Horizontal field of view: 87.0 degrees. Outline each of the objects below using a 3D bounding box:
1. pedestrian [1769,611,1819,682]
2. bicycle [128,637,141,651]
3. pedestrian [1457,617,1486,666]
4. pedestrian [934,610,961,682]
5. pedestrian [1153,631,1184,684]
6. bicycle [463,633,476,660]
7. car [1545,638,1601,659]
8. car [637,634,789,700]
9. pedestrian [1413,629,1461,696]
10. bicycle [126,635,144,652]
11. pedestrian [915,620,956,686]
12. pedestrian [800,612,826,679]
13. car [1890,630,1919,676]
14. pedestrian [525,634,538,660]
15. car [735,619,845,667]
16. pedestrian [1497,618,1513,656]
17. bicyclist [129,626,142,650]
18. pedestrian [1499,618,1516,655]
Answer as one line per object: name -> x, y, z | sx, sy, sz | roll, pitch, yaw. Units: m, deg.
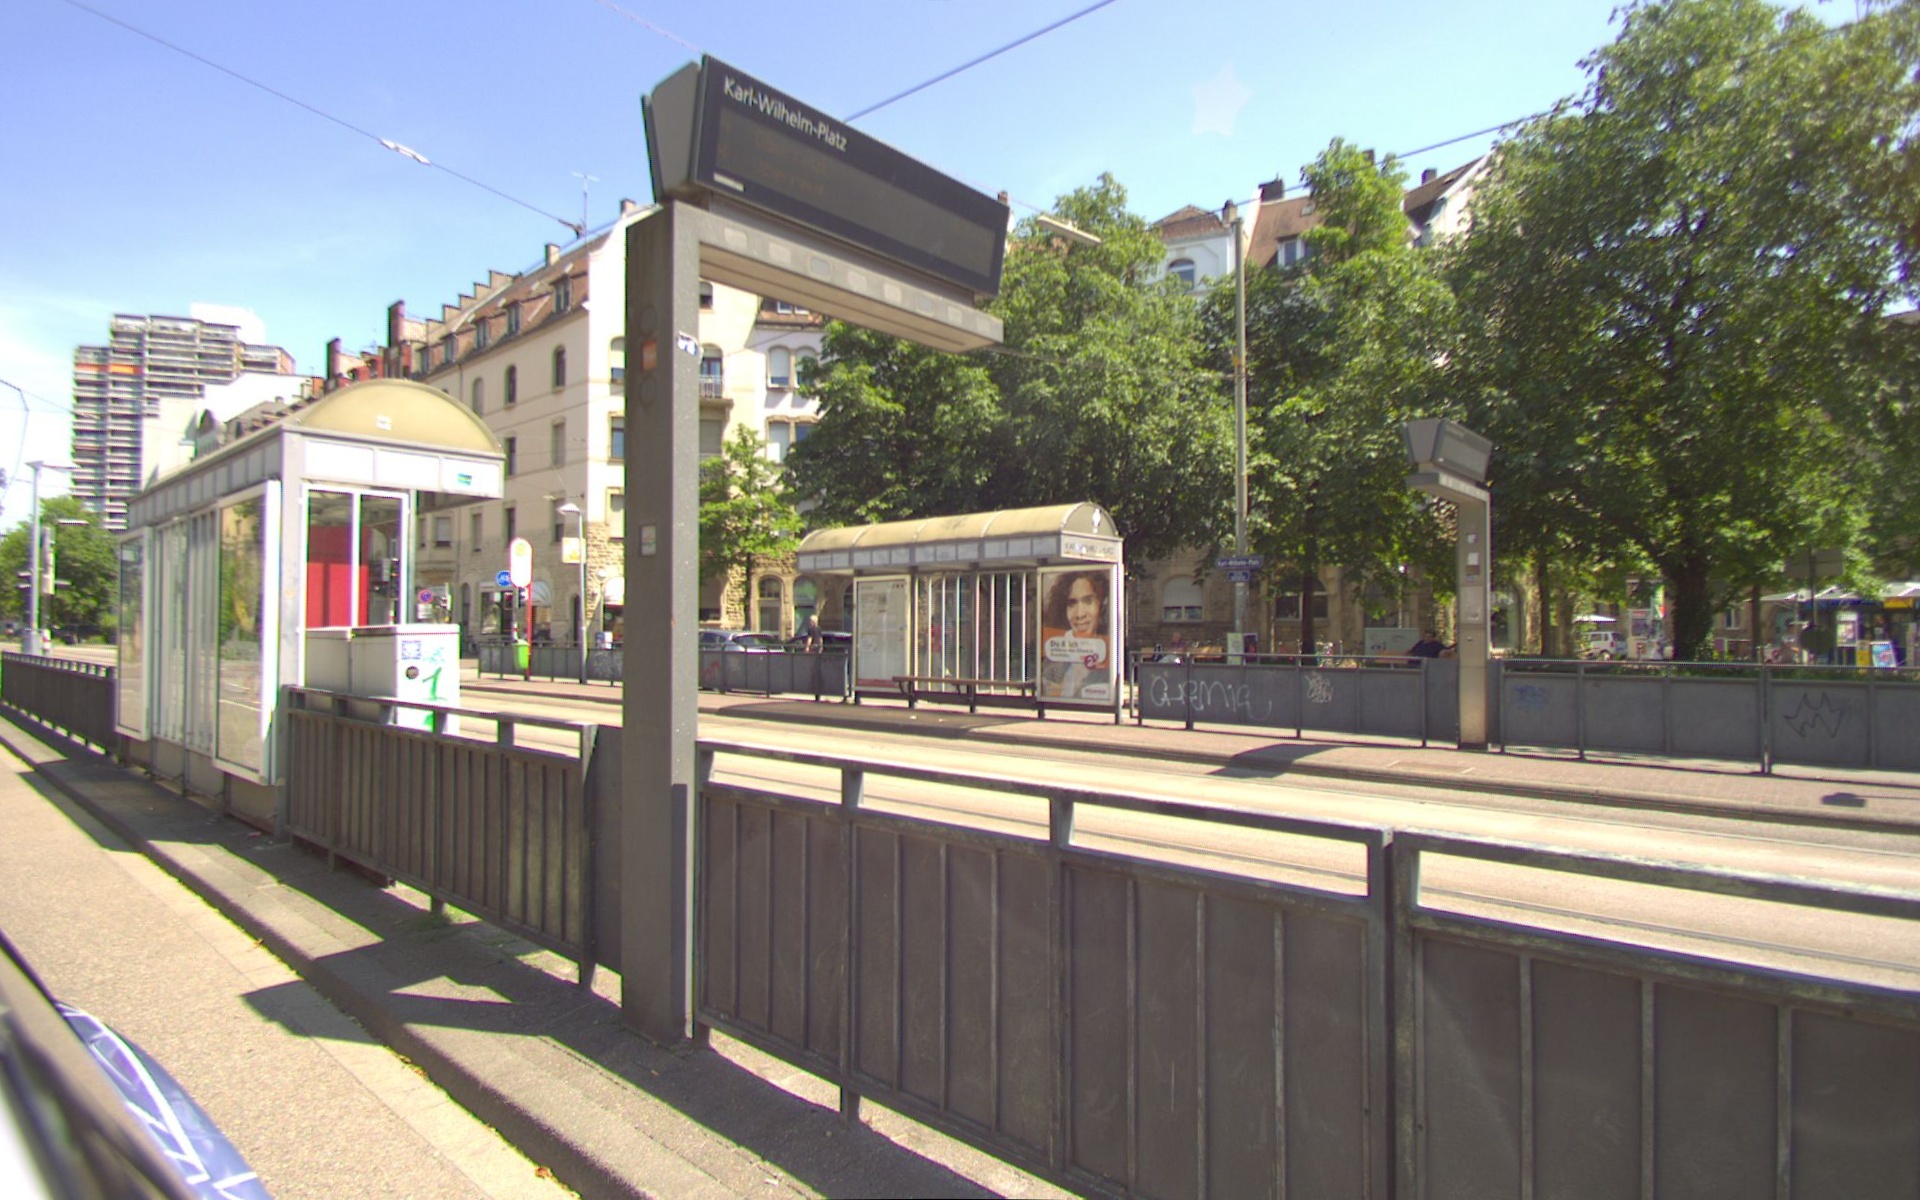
pedestrian -> 24.444, 1.359, 29.667 | 0.704, 2.029, 0.816 | 0, -2, -10
bicycle -> -65.652, 3.498, 80.518 | 2.046, 1.105, 0.487 | -2, -2, 42
pedestrian -> 18.786, 1.506, 37.199 | 0.606, 1.764, 0.719 | 0, -1, -25
pedestrian -> -0.329, 1.201, 26.801 | 0.504, 1.893, 0.494 | 1, -2, -44
pedestrian -> 5.007, 1.376, 24.342 | 0.637, 1.265, 0.549 | 0, -1, 2
bicycle -> -24.360, 2.294, 50.241 | 0.447, 1.234, 2.086 | 0, -1, -29
car -> 26.503, 2.078, 43.774 | 1.899, 0.872, 0.856 | 0, -1, 17
car -> -5.733, 1.483, 23.311 | 3.716, 1.349, 1.525 | -1, -1, 40
pedestrian -> 9.428, 1.220, 20.024 | 0.637, 1.297, 0.618 | 0, -1, 2
bicycle -> -55.763, 2.939, 68.402 | 1.977, 1.166, 0.621 | -2, -2, 42
pedestrian -> -0.614, 1.318, 25.535 | 0.772, 1.618, 0.673 | -1, -1, 38
pedestrian -> -4.084, 1.262, 28.082 | 0.494, 1.836, 0.505 | -1, -2, 43
car -> 32.160, 1.696, 32.868 | 3.676, 1.453, 1.546 | 0, -1, -24
pedestrian -> -19.393, 2.143, 45.785 | 0.405, 1.157, 0.401 | -1, -1, 38
car -> -5.921, 1.445, 35.124 | 3.525, 1.587, 1.588 | 0, -1, -20
pedestrian -> 24.237, 1.641, 45.025 | 0.526, 1.635, 0.491 | -1, -1, 41
bicyclist -> -55.692, 2.575, 68.349 | 0.585, 1.586, 0.602 | -1, -2, 41
pedestrian -> 24.614, 1.647, 45.456 | 0.560, 1.635, 0.507 | -1, -1, 41
